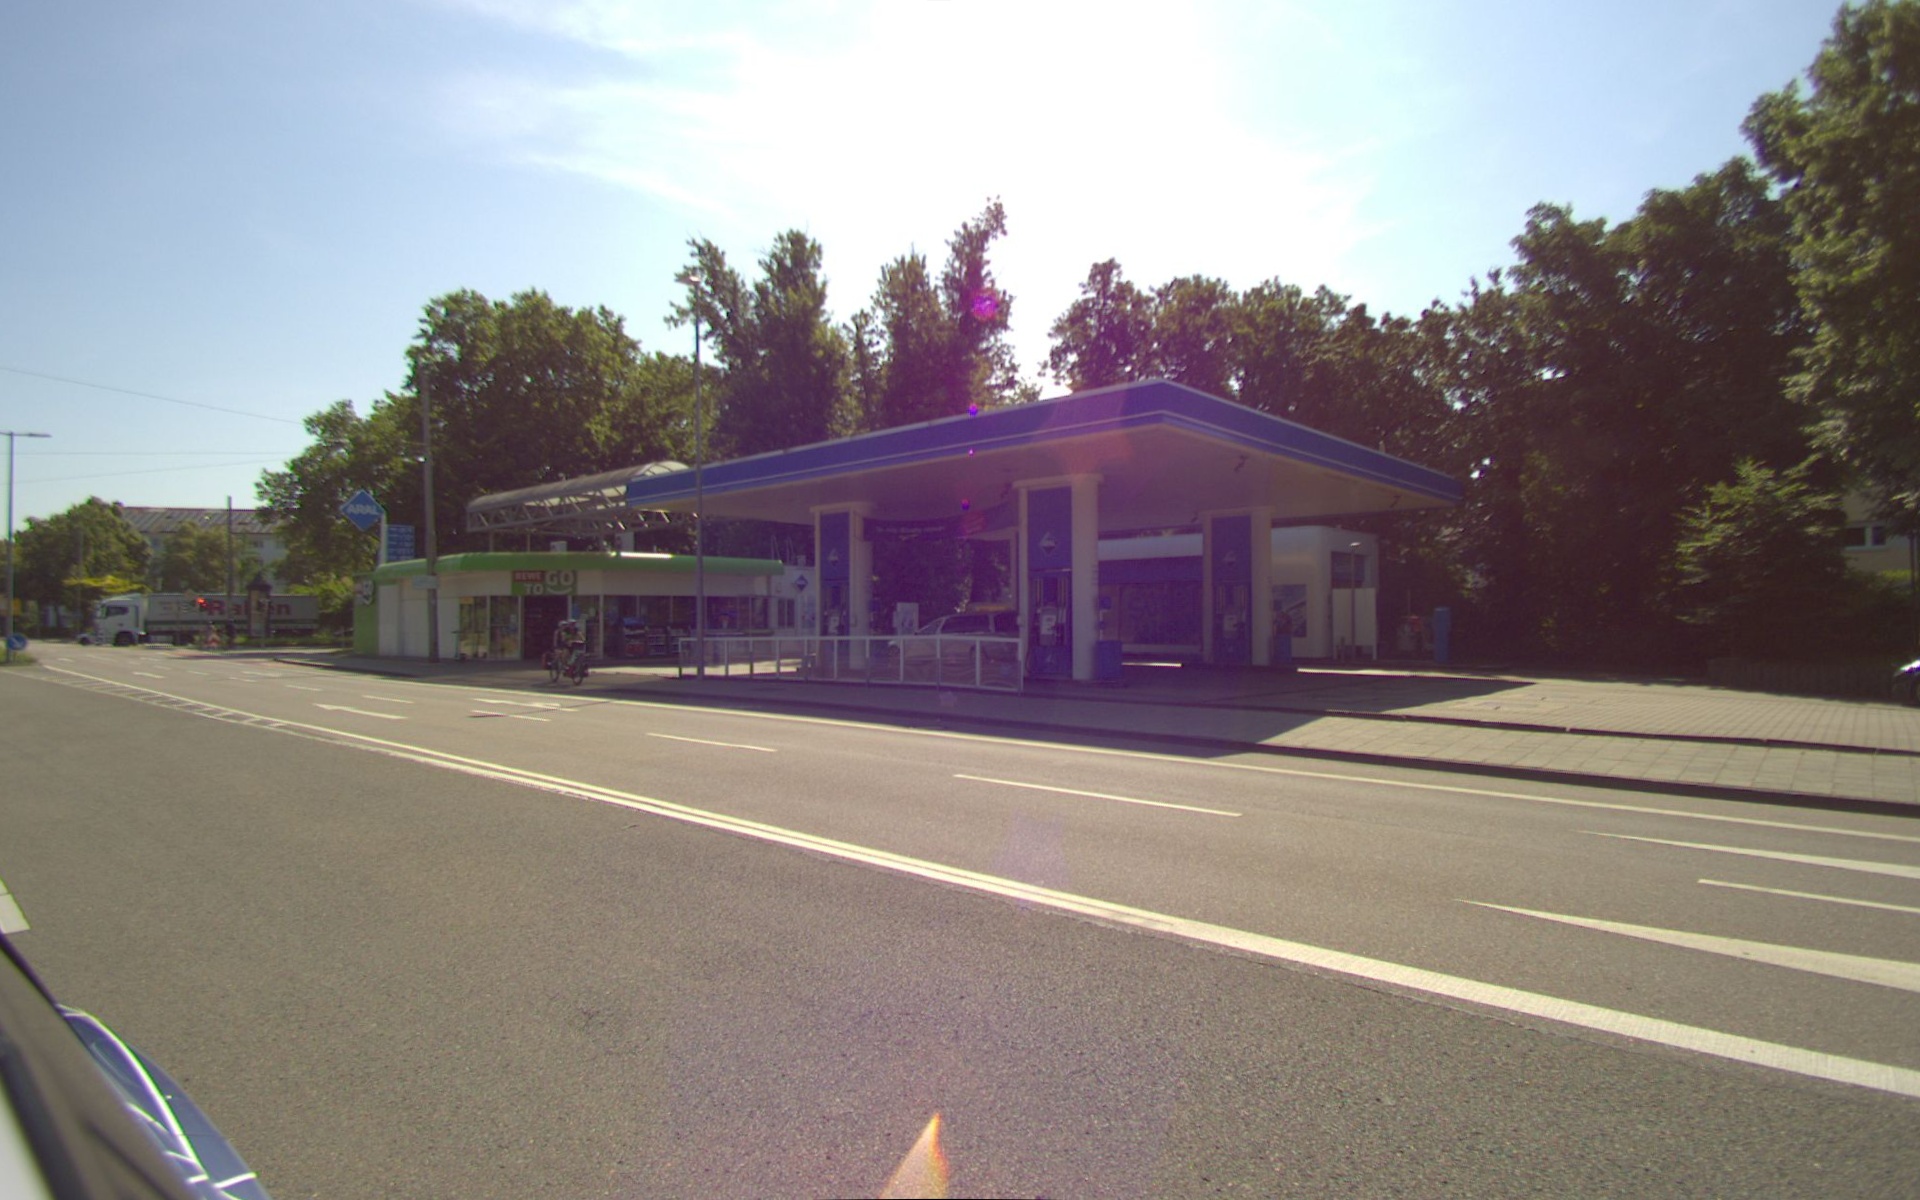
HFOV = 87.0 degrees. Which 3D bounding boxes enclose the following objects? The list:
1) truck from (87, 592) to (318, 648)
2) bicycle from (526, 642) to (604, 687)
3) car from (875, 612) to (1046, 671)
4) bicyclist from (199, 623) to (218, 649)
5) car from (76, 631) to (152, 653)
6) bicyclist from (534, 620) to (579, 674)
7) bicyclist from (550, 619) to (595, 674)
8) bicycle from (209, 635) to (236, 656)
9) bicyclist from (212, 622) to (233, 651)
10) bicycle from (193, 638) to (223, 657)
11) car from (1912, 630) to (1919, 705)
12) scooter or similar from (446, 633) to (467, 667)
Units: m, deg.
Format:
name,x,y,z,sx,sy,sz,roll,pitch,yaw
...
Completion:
name,x,y,z,sx,sy,sz,roll,pitch,yaw
truck,-58.319,1.573,78.547,2.856,4.038,14.094,-2,-2,44
bicycle,-10.700,1.732,27.357,2.772,1.102,0.816,-3,1,43
car,-0.087,1.346,33.577,5.961,1.795,1.825,-2,-2,41
bicyclist,-43.540,2.086,58.633,0.737,1.431,0.702,-4,-2,33
car,-65.781,3.233,78.748,4.330,1.522,1.758,-2,-2,-6
bicyclist,-11.087,1.283,27.784,0.832,1.447,0.838,-4,-2,42
bicyclist,-10.427,1.252,27.225,0.832,1.447,0.838,-5,-4,43
bicycle,-44.275,2.725,60.734,2.211,1.184,0.927,-2,-2,44
bicyclist,-44.178,2.185,60.640,0.826,1.687,0.826,-4,-3,41
bicycle,-43.656,2.732,58.746,2.069,1.066,0.744,-2,-2,33
car,18.971,1.166,16.771,1.774,1.356,4.257,0,-2,-25
scooter or similar,-18.978,1.865,38.150,0.435,1.247,1.348,1,-2,-38
